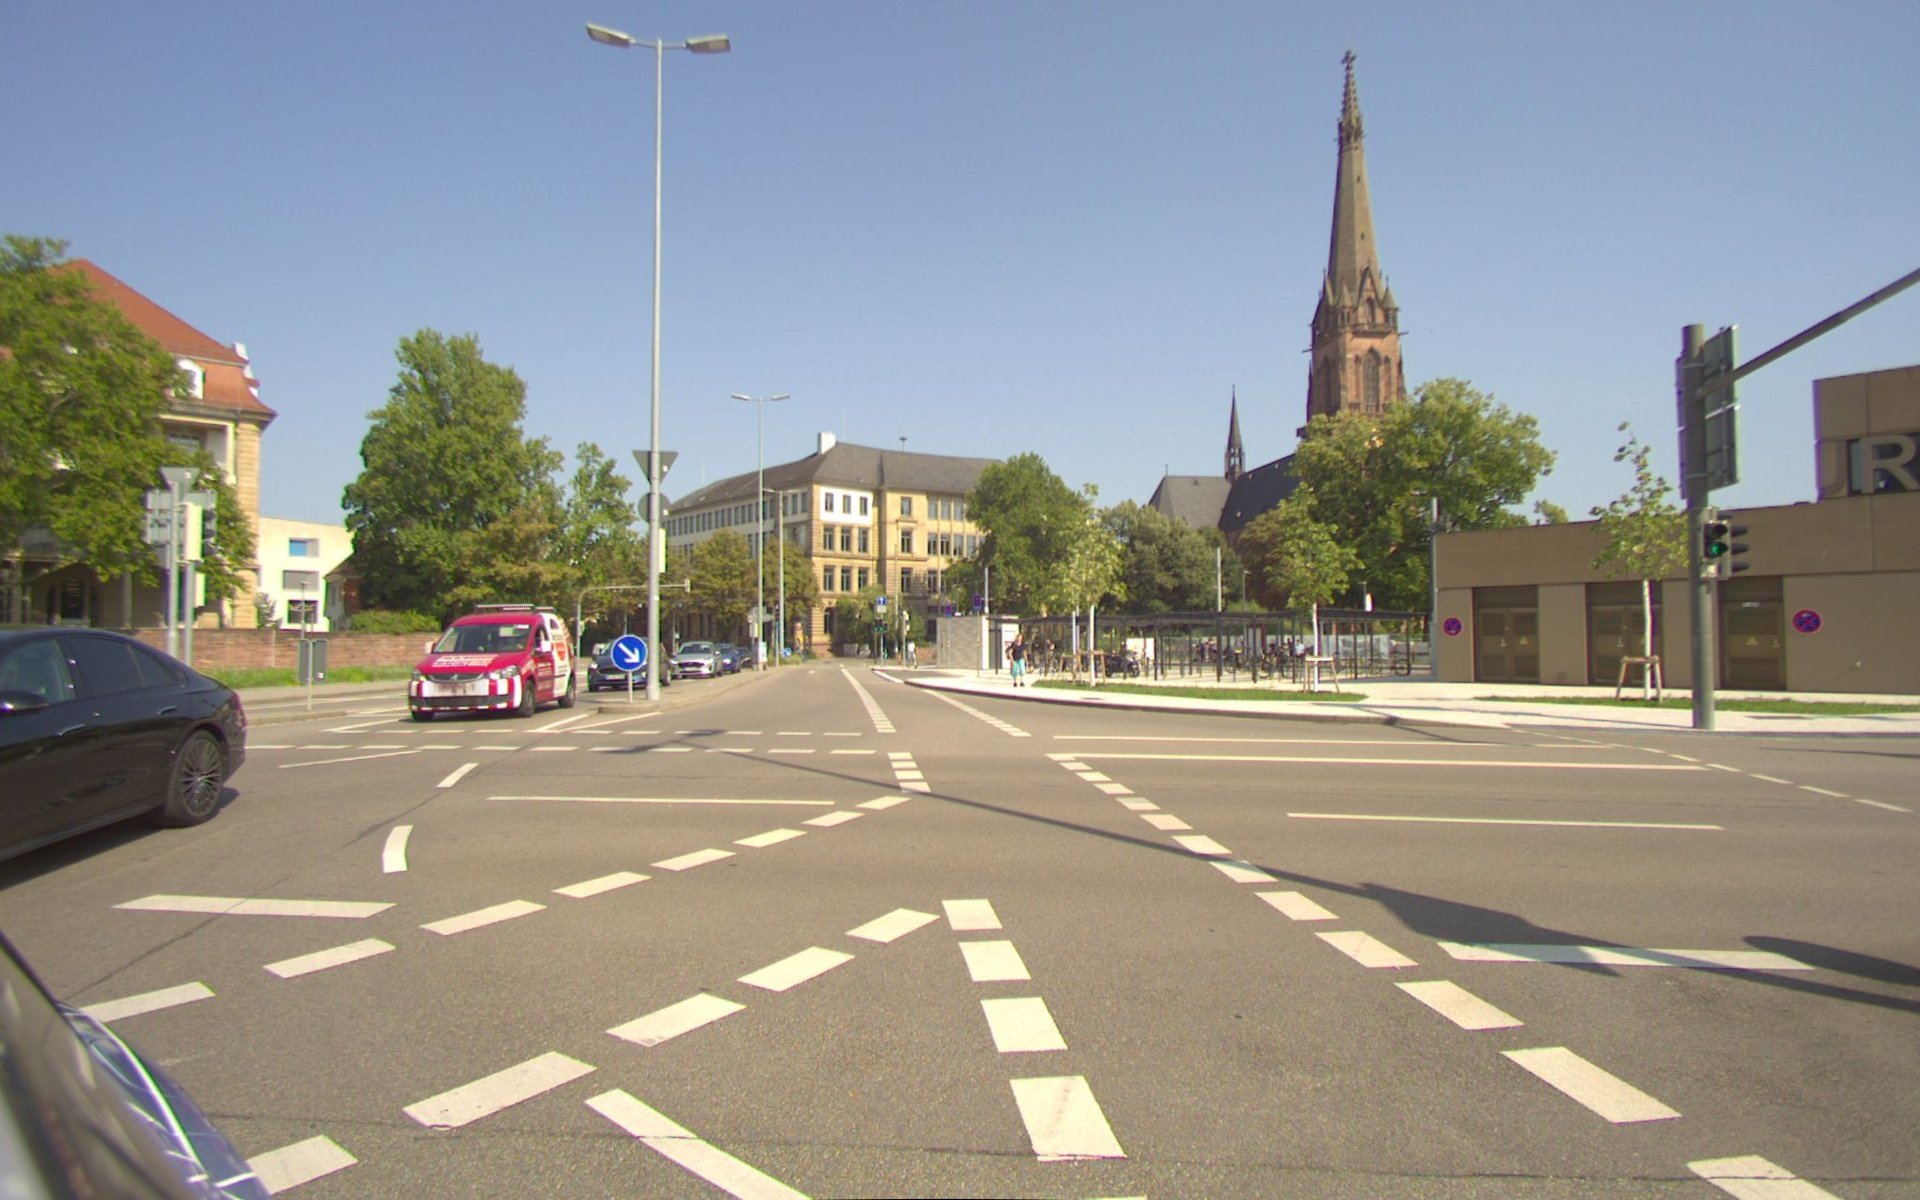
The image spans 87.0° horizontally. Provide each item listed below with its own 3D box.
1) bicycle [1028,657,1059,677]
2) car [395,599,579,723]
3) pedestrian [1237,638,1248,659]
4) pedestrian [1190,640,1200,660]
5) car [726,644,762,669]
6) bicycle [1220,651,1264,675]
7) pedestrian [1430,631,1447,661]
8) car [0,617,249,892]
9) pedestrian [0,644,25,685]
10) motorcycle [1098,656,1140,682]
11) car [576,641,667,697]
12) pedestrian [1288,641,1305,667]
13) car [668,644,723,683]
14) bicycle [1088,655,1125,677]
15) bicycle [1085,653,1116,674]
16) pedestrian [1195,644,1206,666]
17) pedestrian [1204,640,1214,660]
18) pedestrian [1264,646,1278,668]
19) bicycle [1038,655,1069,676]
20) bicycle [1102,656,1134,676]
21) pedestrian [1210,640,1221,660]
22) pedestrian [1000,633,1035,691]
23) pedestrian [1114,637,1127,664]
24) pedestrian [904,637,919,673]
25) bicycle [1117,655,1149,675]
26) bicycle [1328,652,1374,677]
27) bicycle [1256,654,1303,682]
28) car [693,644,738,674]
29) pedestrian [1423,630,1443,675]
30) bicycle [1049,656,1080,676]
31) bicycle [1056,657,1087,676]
[{"bbox_3d":[3.795,3.051,46.095,0.395,0.899,1.590,2,-3,-40],"label":"bicycle"},{"bbox_3d":[-7.845,1.049,17.231,1.710,1.833,4.285,0,-4,-9],"label":"car"},{"bbox_3d":[17.128,2.935,61.301,0.433,1.233,0.383,-1,-3,-40],"label":"pedestrian"},{"bbox_3d":[14.631,3.119,63.029,0.433,1.233,0.383,-1,-3,-40],"label":"pedestrian"},{"bbox_3d":[-14.107,3.681,66.281,1.969,1.564,4.006,0,-2,-7],"label":"car"},{"bbox_3d":[12.149,2.718,43.690,0.454,1.017,1.878,2,-4,-40],"label":"bicycle"},{"bbox_3d":[24.176,2.325,51.136,0.462,1.433,0.570,-1,-3,-40],"label":"pedestrian"},{"bbox_3d":[-5.977,0.821,5.318,1.796,1.451,4.884,0,-2,-11],"label":"car"},{"bbox_3d":[-40.189,2.724,42.895,0.706,1.696,0.596,2,-4,-38],"label":"pedestrian"},{"bbox_3d":[6.431,2.763,40.897,0.534,1.017,1.748,2,-4,-40],"label":"motorcycle"},{"bbox_3d":[-9.411,1.894,28.447,1.615,1.438,4.328,0,-3,-7],"label":"car"},{"bbox_3d":[18.726,3.010,56.382,0.652,1.405,0.644,2,-4,-43],"label":"pedestrian"},{"bbox_3d":[-10.427,2.486,40.098,1.694,1.444,3.866,0,-3,-8],"label":"car"},{"bbox_3d":[6.661,2.987,46.014,0.525,0.994,1.716,2,-4,-40],"label":"bicycle"},{"bbox_3d":[6.855,3.089,49.334,0.445,0.985,1.590,0,-2,-40],"label":"bicycle"},{"bbox_3d":[14.745,3.367,62.016,0.387,1.328,0.416,-1,-3,-36],"label":"pedestrian"},{"bbox_3d":[15.459,3.103,62.771,0.433,1.233,0.383,-1,-3,-40],"label":"pedestrian"},{"bbox_3d":[17.754,3.243,57.732,0.460,1.206,0.575,2,-4,-40],"label":"pedestrian"},{"bbox_3d":[4.316,3.024,46.830,0.415,0.975,1.590,2,-4,-40],"label":"bicycle"},{"bbox_3d":[7.302,3.038,46.762,0.403,0.899,1.590,2,-4,-40],"label":"bicycle"},{"bbox_3d":[15.735,3.086,62.295,0.433,1.233,0.383,-1,-3,-40],"label":"pedestrian"},{"bbox_3d":[1.610,1.733,28.391,0.741,1.577,0.669,2,-4,-24],"label":"pedestrian"},{"bbox_3d":[10.403,3.282,65.487,0.705,1.762,0.390,0,-3,-9],"label":"pedestrian"},{"bbox_3d":[-2.827,3.192,58.689,0.725,2.029,0.712,-1,-3,11],"label":"pedestrian"},{"bbox_3d":[8.178,3.072,47.866,0.403,0.899,1.590,2,-4,-40],"label":"bicycle"},{"bbox_3d":[16.031,2.626,41.513,0.395,1.017,1.748,2,-4,-40],"label":"bicycle"},{"bbox_3d":[12.079,2.556,38.314,0.395,1.017,1.748,2,-4,-40],"label":"bicycle"},{"bbox_3d":[-11.577,2.795,48.204,1.583,1.339,4.339,0,-3,-7],"label":"car"},{"bbox_3d":[19.143,2.129,40.977,0.593,1.815,0.329,-3,-4,44],"label":"pedestrian"},{"bbox_3d":[4.876,3.090,47.310,0.395,0.899,1.590,2,-4,-40],"label":"bicycle"},{"bbox_3d":[5.242,3.117,47.665,0.403,0.899,1.590,2,-4,-40],"label":"bicycle"}]
